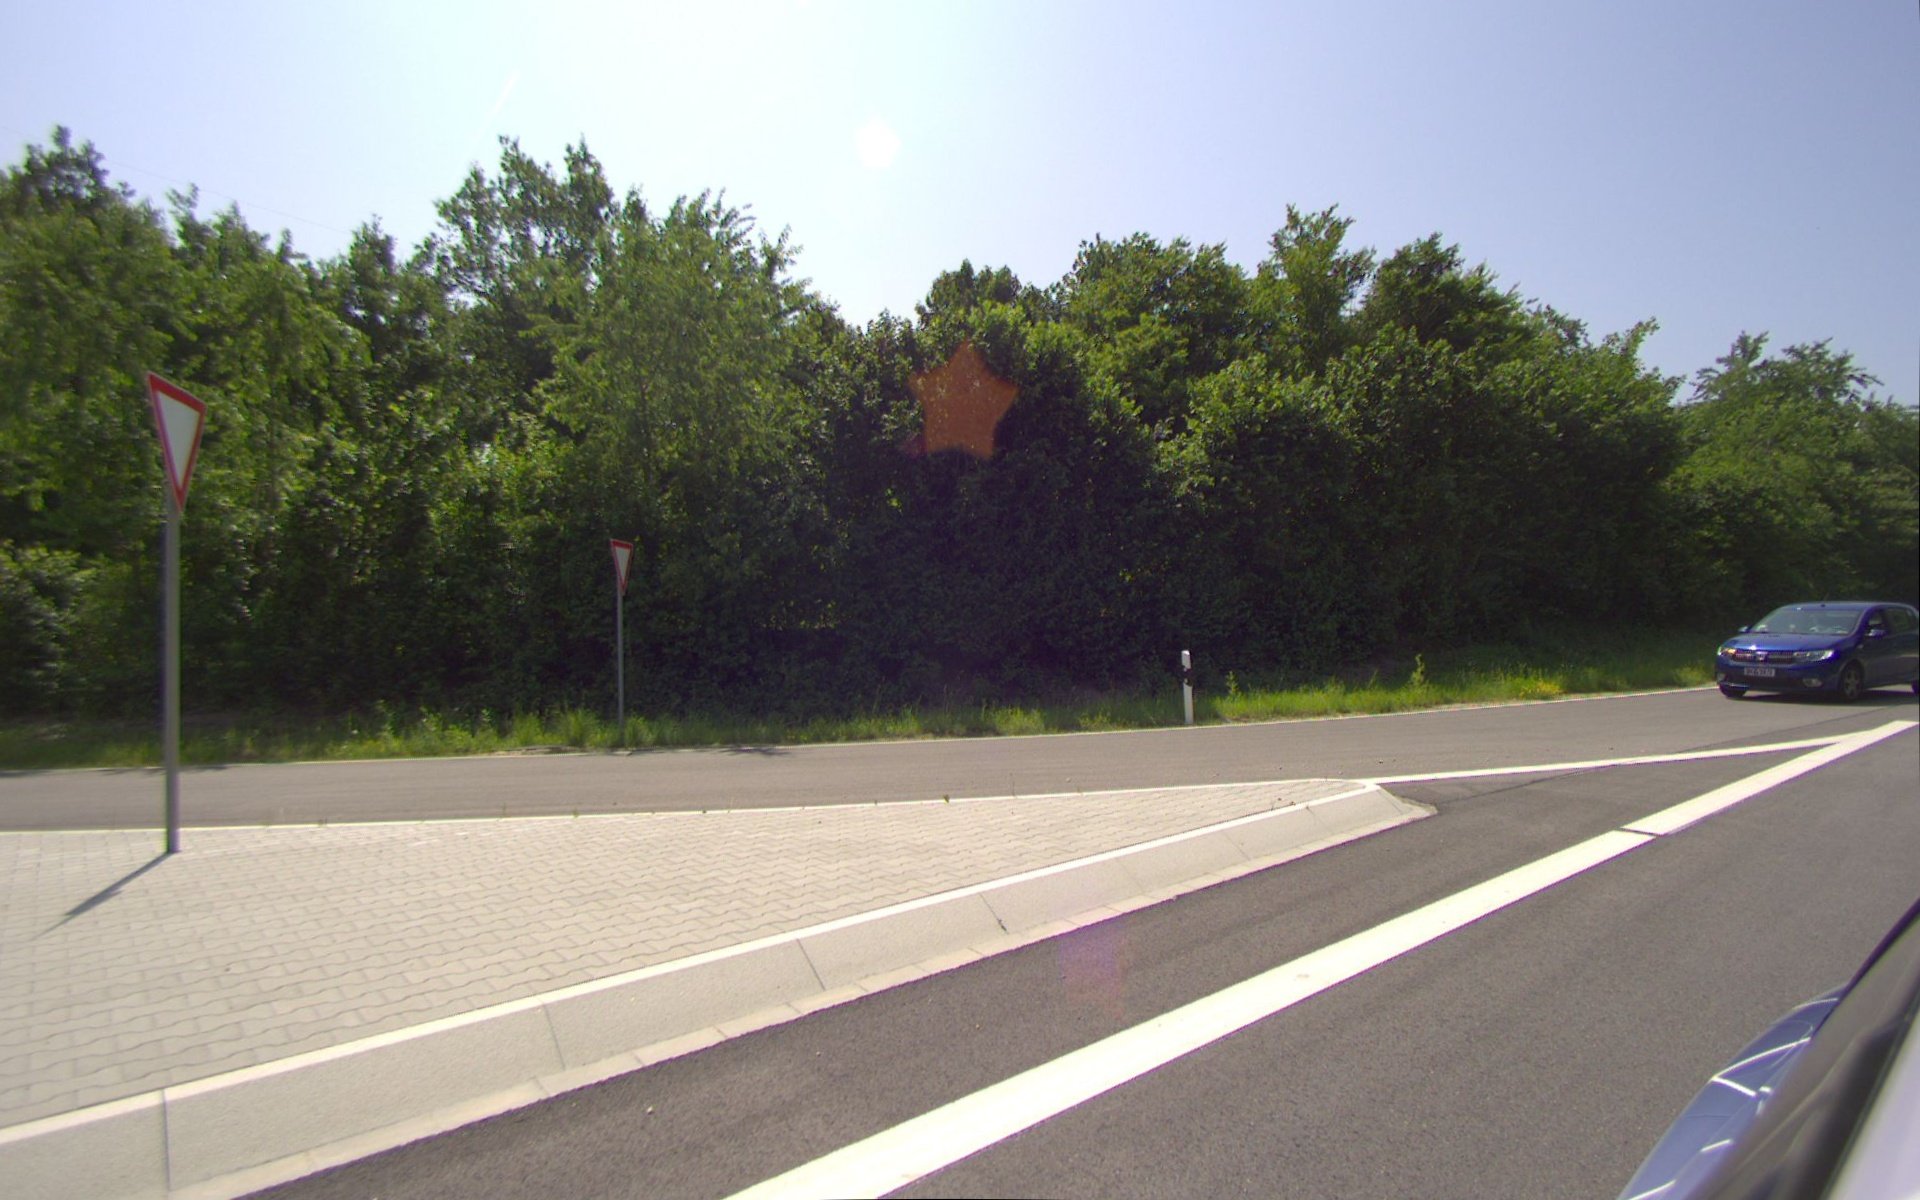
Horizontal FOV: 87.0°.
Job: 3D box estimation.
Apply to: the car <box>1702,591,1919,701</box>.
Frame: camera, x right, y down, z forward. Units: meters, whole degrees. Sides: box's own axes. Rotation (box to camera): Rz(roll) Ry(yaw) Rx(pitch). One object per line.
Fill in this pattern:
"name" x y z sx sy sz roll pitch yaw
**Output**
"car" 14.059 0.663 16.238 3.863 1.561 1.812 -1 -1 -25
